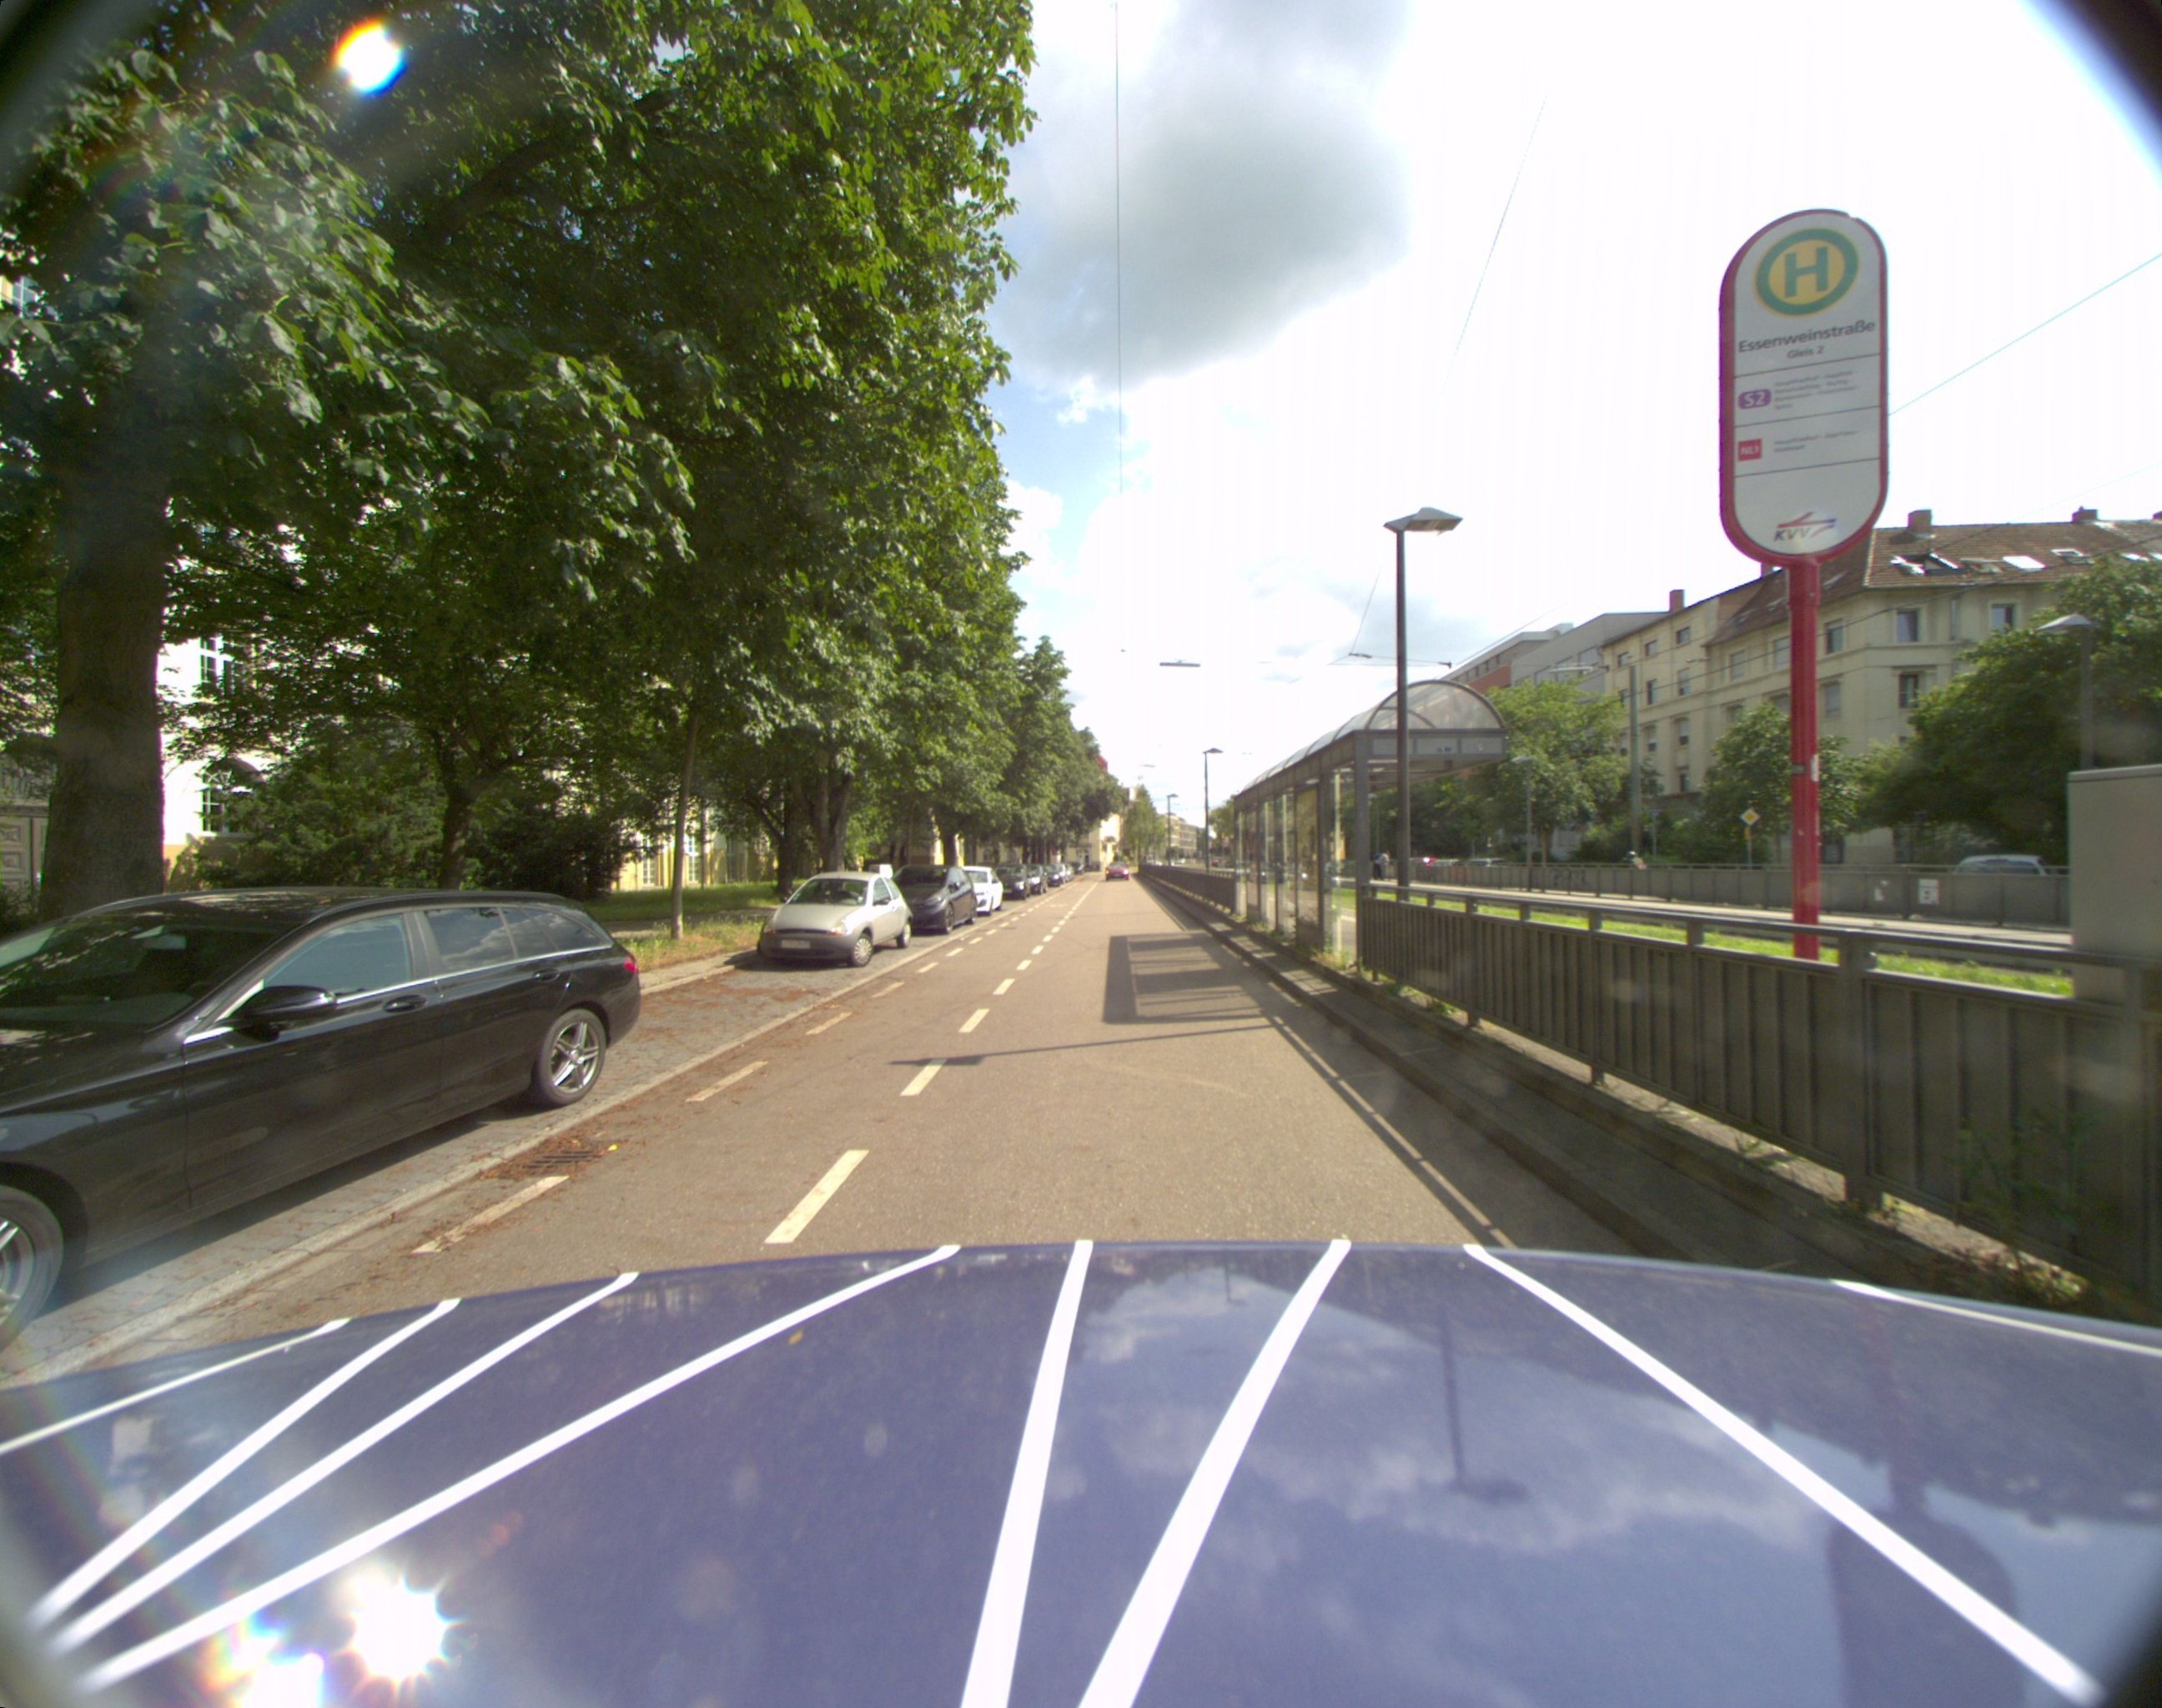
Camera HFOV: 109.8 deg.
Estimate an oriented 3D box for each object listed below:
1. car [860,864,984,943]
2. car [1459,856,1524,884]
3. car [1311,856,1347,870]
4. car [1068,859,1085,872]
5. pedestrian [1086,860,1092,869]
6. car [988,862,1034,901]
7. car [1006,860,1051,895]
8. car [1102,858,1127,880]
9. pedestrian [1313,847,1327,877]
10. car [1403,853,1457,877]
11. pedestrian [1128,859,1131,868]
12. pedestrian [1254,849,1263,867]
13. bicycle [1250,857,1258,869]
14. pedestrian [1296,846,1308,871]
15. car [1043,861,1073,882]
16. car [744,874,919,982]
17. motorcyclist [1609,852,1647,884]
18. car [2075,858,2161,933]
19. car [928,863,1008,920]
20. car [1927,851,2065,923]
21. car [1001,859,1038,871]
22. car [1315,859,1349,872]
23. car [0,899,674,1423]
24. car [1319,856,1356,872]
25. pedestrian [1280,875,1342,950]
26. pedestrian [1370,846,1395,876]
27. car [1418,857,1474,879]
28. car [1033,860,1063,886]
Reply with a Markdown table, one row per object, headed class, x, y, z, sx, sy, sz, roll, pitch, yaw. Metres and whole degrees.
| class | x | y | z | sx | sy | sz | roll | pitch | yaw |
| --- | --- | --- | --- | --- | --- | --- | --- | --- | --- |
| car | -3.632 | 1.065 | 18.229 | 1.729 | 1.574 | 4.678 | 0 | 0 | 3 |
| car | 24.665 | 0.928 | 45.572 | 4.161 | 1.555 | 1.921 | -1 | 1 | -38 |
| car | 26.921 | 0.985 | 82.385 | 4.007 | 1.487 | 1.647 | -1 | 0 | -34 |
| car | -0.516 | 1.272 | 87.707 | 1.689 | 1.379 | 3.925 | 0 | 0 | 3 |
| pedestrian | 1.219 | 1.559 | 111.342 | 0.804 | 1.238 | 0.892 | -1 | 2 | 5 |
| car | -2.932 | 1.129 | 32.554 | 1.559 | 1.452 | 3.558 | 3 | 1 | 0 |
| car | -2.540 | 1.137 | 37.738 | 1.694 | 1.552 | 4.308 | 2 | 0 | 3 |
| car | 2.580 | 1.136 | 58.487 | 1.790 | 1.499 | 4.001 | -2 | 0 | 2 |
| pedestrian | 15.278 | 0.517 | 48.607 | 0.752 | 1.881 | 0.639 | -1 | 2 | 5 |
| car | 25.364 | 0.796 | 55.224 | 4.144 | 1.630 | 1.829 | -1 | 1 | -37 |
| pedestrian | 8.643 | 1.649 | 135.172 | 0.593 | 1.622 | 0.538 | 2 | 0 | 5 |
| pedestrian | 16.837 | 0.380 | 71.987 | 0.640 | 1.714 | 0.799 | -1 | 1 | 0 |
| bicycle | 16.355 | 0.879 | 72.017 | 0.662 | 1.107 | 1.879 | 1 | 0 | 11 |
| pedestrian | 15.509 | 0.323 | 53.273 | 0.607 | 1.744 | 0.626 | 0 | 1 | 43 |
| car | -1.639 | 1.280 | 55.262 | 1.639 | 1.423 | 4.017 | 2 | 0 | 5 |
| car | -4.013 | 1.120 | 12.828 | 1.594 | 1.436 | 3.598 | 1 | 0 | 3 |
| motorcyclist | 23.309 | 0.575 | 32.381 | 0.940 | 1.331 | 0.987 | 0 | 0 | 3 |
| car | 23.464 | 0.854 | 16.625 | 4.006 | 1.477 | 1.606 | -1 | 0 | -31 |
| car | -3.426 | 1.099 | 23.826 | 1.840 | 1.514 | 4.253 | 1 | 0 | 0 |
| car | 23.307 | 0.774 | 19.330 | 4.007 | 1.630 | 1.823 | -1 | -1 | -34 |
| car | -8.888 | 1.561 | 109.818 | 4.827 | 1.646 | 1.858 | -1 | 2 | 13 |
| car | 26.067 | 1.170 | 78.820 | 3.258 | 1.296 | 1.600 | -1 | 0 | -33 |
| car | -4.372 | 1.095 | 3.831 | 1.922 | 1.433 | 4.797 | 2 | 0 | 1 |
| car | 25.574 | 1.027 | 75.762 | 3.317 | 1.412 | 1.581 | -3 | 1 | -27 |
| pedestrian | 3.418 | 0.848 | 11.300 | 0.662 | 1.066 | 0.725 | -1 | -1 | 37 |
| pedestrian | 15.750 | 0.356 | 39.753 | 0.991 | 1.569 | 0.799 | -1 | 1 | 0 |
| car | 25.024 | 0.960 | 52.010 | 4.031 | 1.383 | 1.812 | -1 | -1 | -38 |
| car | -2.089 | 1.211 | 49.331 | 1.836 | 1.458 | 4.830 | 1 | 1 | -1 |
